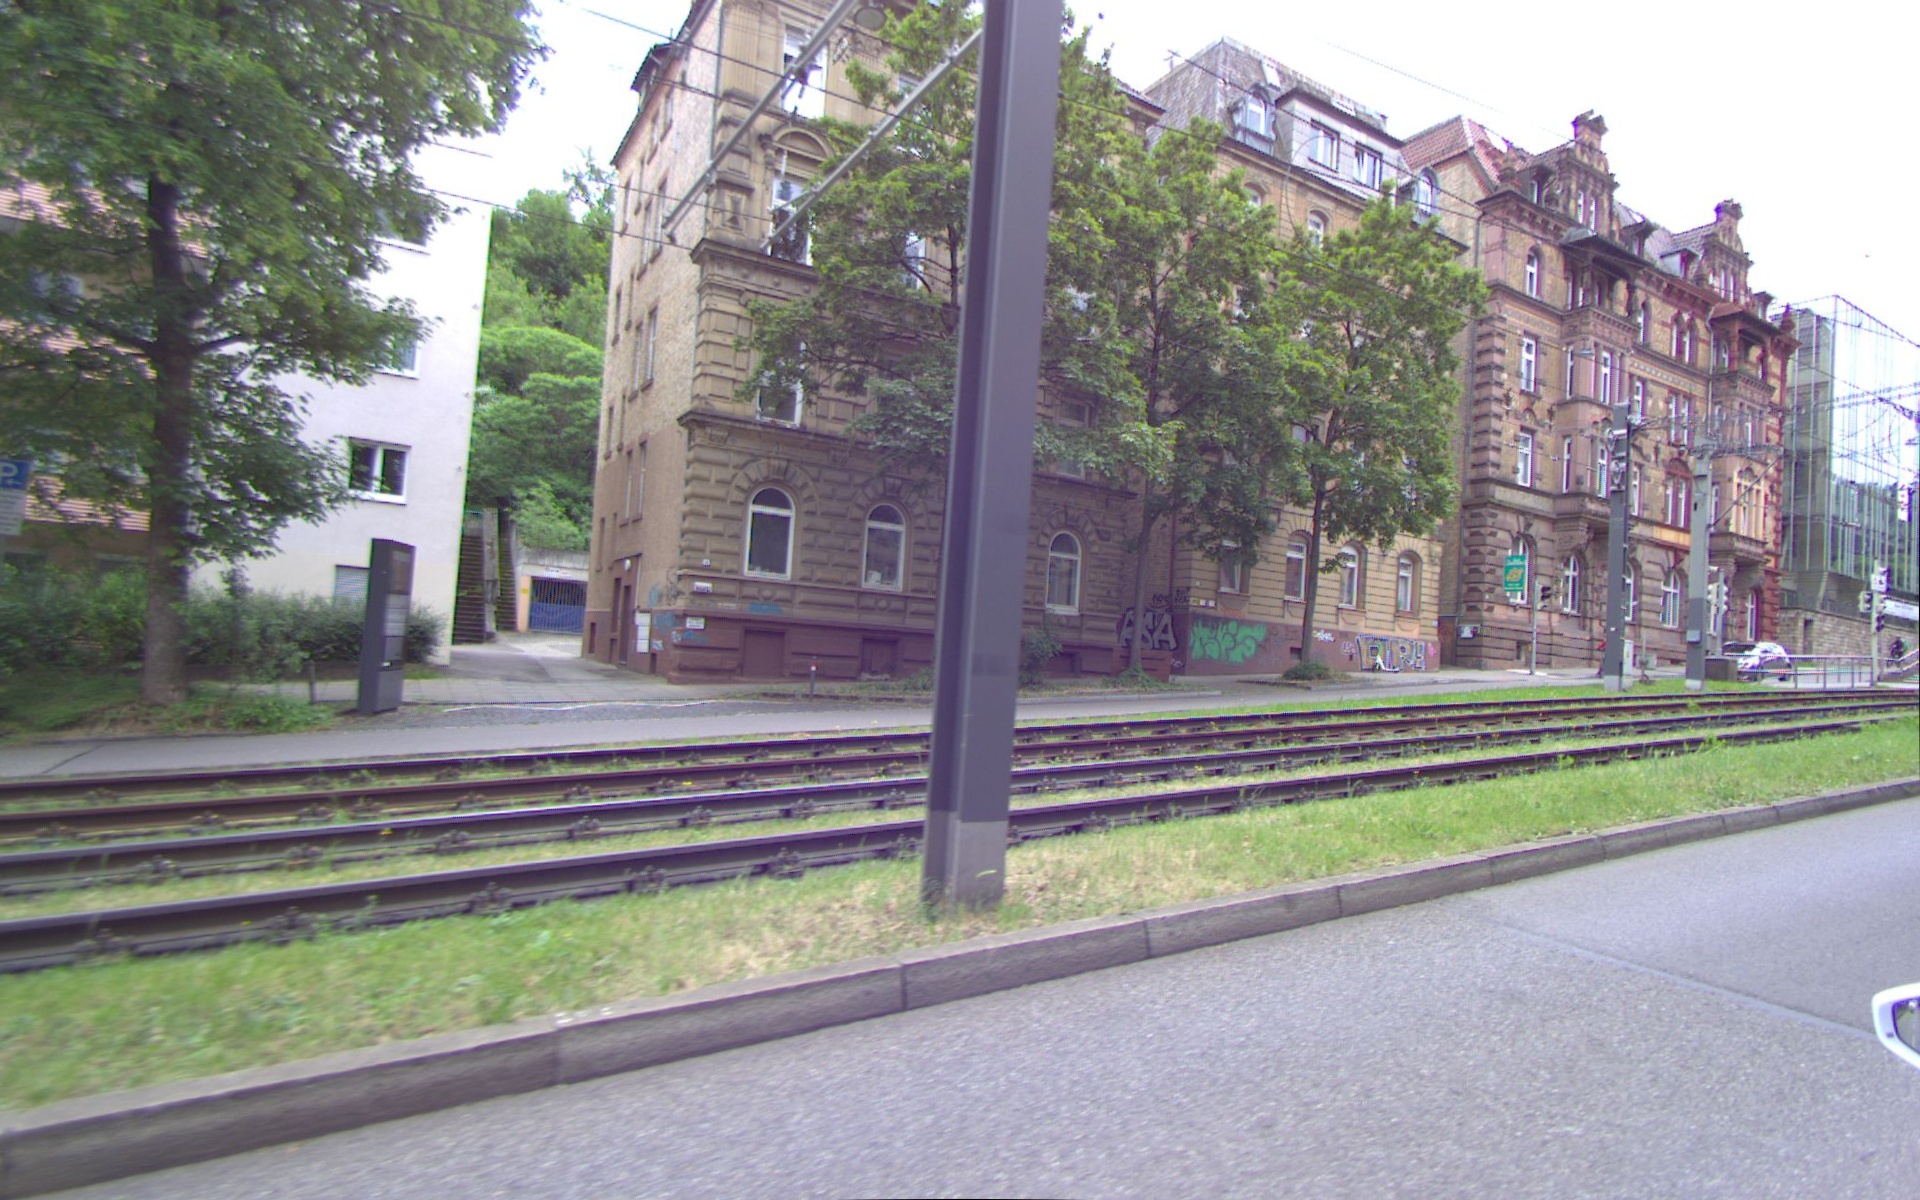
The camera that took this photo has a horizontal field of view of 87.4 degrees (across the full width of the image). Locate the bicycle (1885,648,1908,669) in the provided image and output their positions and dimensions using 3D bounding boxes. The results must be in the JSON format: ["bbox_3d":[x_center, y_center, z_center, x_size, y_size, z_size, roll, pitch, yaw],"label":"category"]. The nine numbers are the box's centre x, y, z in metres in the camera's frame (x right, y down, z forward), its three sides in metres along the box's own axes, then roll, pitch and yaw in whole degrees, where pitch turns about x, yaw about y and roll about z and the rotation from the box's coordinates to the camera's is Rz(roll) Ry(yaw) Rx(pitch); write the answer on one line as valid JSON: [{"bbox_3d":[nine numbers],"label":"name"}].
[{"bbox_3d":[52.197,3.251,55.990,1.288,1.158,0.570,2,-1,-30],"label":"bicycle"}]

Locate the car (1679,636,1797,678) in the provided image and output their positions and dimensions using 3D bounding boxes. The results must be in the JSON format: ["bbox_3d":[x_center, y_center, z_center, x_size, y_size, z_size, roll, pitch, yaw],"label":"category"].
[{"bbox_3d":[27.988,2.023,36.125,3.952,1.421,1.985,2,-2,-30],"label":"car"}]

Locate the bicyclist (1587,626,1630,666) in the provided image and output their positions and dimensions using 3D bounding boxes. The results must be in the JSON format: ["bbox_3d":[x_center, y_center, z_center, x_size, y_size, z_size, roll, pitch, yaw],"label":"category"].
[{"bbox_3d":[24.163,1.706,37.422,1.174,1.444,0.934,1,-1,-30],"label":"bicyclist"}]

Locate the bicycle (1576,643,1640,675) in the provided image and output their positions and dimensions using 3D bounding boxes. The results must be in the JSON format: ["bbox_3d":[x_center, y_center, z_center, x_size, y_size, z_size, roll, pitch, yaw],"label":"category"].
[{"bbox_3d":[24.127,2.172,37.384,2.671,1.114,0.934,1,-2,-31],"label":"bicycle"}]

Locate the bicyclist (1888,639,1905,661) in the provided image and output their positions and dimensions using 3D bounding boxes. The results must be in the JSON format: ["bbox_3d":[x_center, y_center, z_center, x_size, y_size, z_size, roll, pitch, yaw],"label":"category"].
[{"bbox_3d":[52.209,2.768,56.002,0.648,1.207,0.516,1,-1,-29],"label":"bicyclist"}]

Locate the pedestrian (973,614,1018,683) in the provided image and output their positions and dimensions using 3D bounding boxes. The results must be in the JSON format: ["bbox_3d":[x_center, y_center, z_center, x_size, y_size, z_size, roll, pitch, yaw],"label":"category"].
[{"bbox_3d":[0.903,1.221,25.452,0.839,1.706,0.827,1,-2,-32],"label":"pedestrian"}]

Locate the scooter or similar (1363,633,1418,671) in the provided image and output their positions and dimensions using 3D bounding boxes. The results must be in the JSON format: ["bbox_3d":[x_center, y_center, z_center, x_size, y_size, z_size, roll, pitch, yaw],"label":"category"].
[{"bbox_3d":[14.691,1.758,34.273,2.191,1.271,0.625,1,-1,-33],"label":"scooter or similar"}]
